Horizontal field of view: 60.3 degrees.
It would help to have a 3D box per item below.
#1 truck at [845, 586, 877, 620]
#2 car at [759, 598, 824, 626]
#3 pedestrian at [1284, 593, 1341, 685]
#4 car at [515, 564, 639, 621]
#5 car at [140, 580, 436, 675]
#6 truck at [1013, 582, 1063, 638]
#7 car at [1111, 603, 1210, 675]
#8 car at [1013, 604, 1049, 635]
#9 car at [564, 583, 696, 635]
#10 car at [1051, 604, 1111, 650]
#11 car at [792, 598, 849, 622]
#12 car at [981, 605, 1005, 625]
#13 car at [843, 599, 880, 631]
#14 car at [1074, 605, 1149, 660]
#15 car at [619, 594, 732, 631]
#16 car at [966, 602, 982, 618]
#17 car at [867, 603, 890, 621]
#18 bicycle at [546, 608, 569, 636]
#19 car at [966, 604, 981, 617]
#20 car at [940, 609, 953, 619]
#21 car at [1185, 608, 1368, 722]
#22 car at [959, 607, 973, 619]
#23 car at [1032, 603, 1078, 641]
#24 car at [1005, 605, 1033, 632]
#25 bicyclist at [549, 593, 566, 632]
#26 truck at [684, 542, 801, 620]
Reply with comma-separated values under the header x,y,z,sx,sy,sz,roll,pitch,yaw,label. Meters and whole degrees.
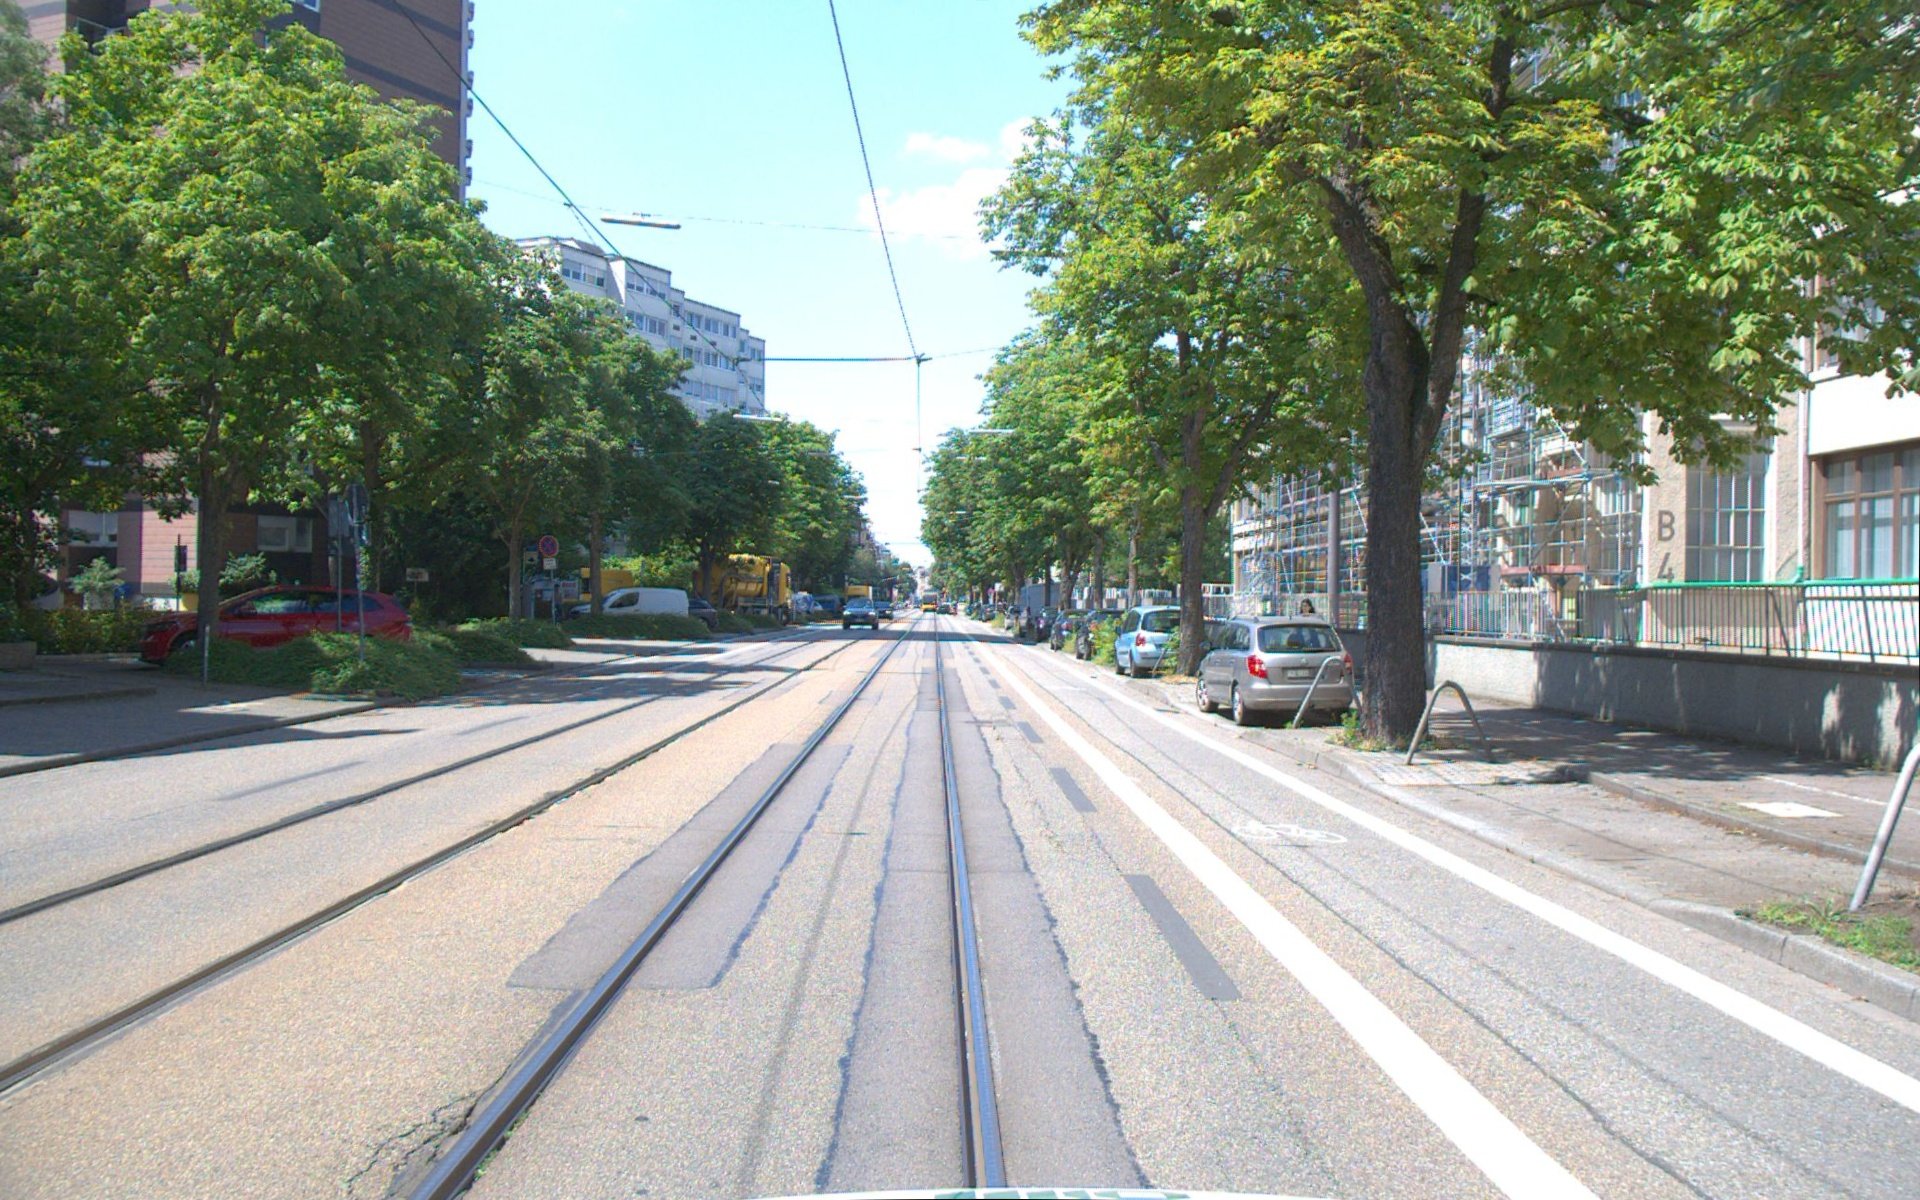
x,y,z,sx,sy,sz,roll,pitch,yaw,label
-8.803,0.281,148.001,2.312,2.902,7.378,-1,0,1,truck
-12.372,0.867,121.402,1.887,1.968,4.729,-2,-1,41,car
6.357,0.693,29.829,0.783,1.616,0.919,-1,0,-2,pedestrian
-19.232,-0.331,83.528,2.137,2.611,6.712,0,-2,29,car
-12.048,0.500,29.724,4.713,1.594,1.982,1,0,-30,car
3.673,0.468,78.917,1.973,2.532,5.954,0,0,-2,truck
4.521,0.842,37.795,1.637,1.544,4.200,0,0,-2,car
3.698,0.995,86.695,1.611,1.561,3.946,0,0,-1,car
-12.413,0.346,62.330,4.492,1.822,1.879,2,0,-34,car
4.158,0.909,57.365,1.787,1.497,4.486,0,0,0,car
-12.429,0.872,147.536,4.718,2.098,1.997,-1,0,-40,car
2.638,1.213,132.377,1.606,1.511,3.869,0,-1,-4,car
-5.325,0.782,89.861,1.793,1.710,4.183,0,0,-1,car
4.274,0.894,47.207,1.637,1.463,4.040,0,0,-2,car
-11.888,0.532,69.256,4.405,1.419,1.747,2,0,-40,car
1.446,1.018,173.545,1.560,1.645,3.906,0,-1,-1,car
-6.571,0.979,133.853,1.738,1.422,4.286,0,0,-1,car
-15.824,0.854,65.010,0.507,1.065,1.875,2,0,-3,bicycle
1.579,1.269,192.687,1.676,1.448,4.308,0,-1,-1,car
-1.823,1.846,218.703,1.745,1.369,3.415,0,0,-1,car
4.626,0.907,24.808,1.638,1.525,4.362,0,0,-4,car
0.791,1.677,210.625,1.676,1.448,4.308,0,-1,-1,car
3.893,0.895,68.494,1.786,1.497,4.401,0,0,2,car
3.497,1.093,98.488,1.610,1.561,3.785,0,0,1,car
-15.806,0.479,64.957,0.471,1.507,0.780,2,0,-3,bicyclist
-11.911,-0.946,91.909,2.657,3.909,10.972,2,-1,13,truck
